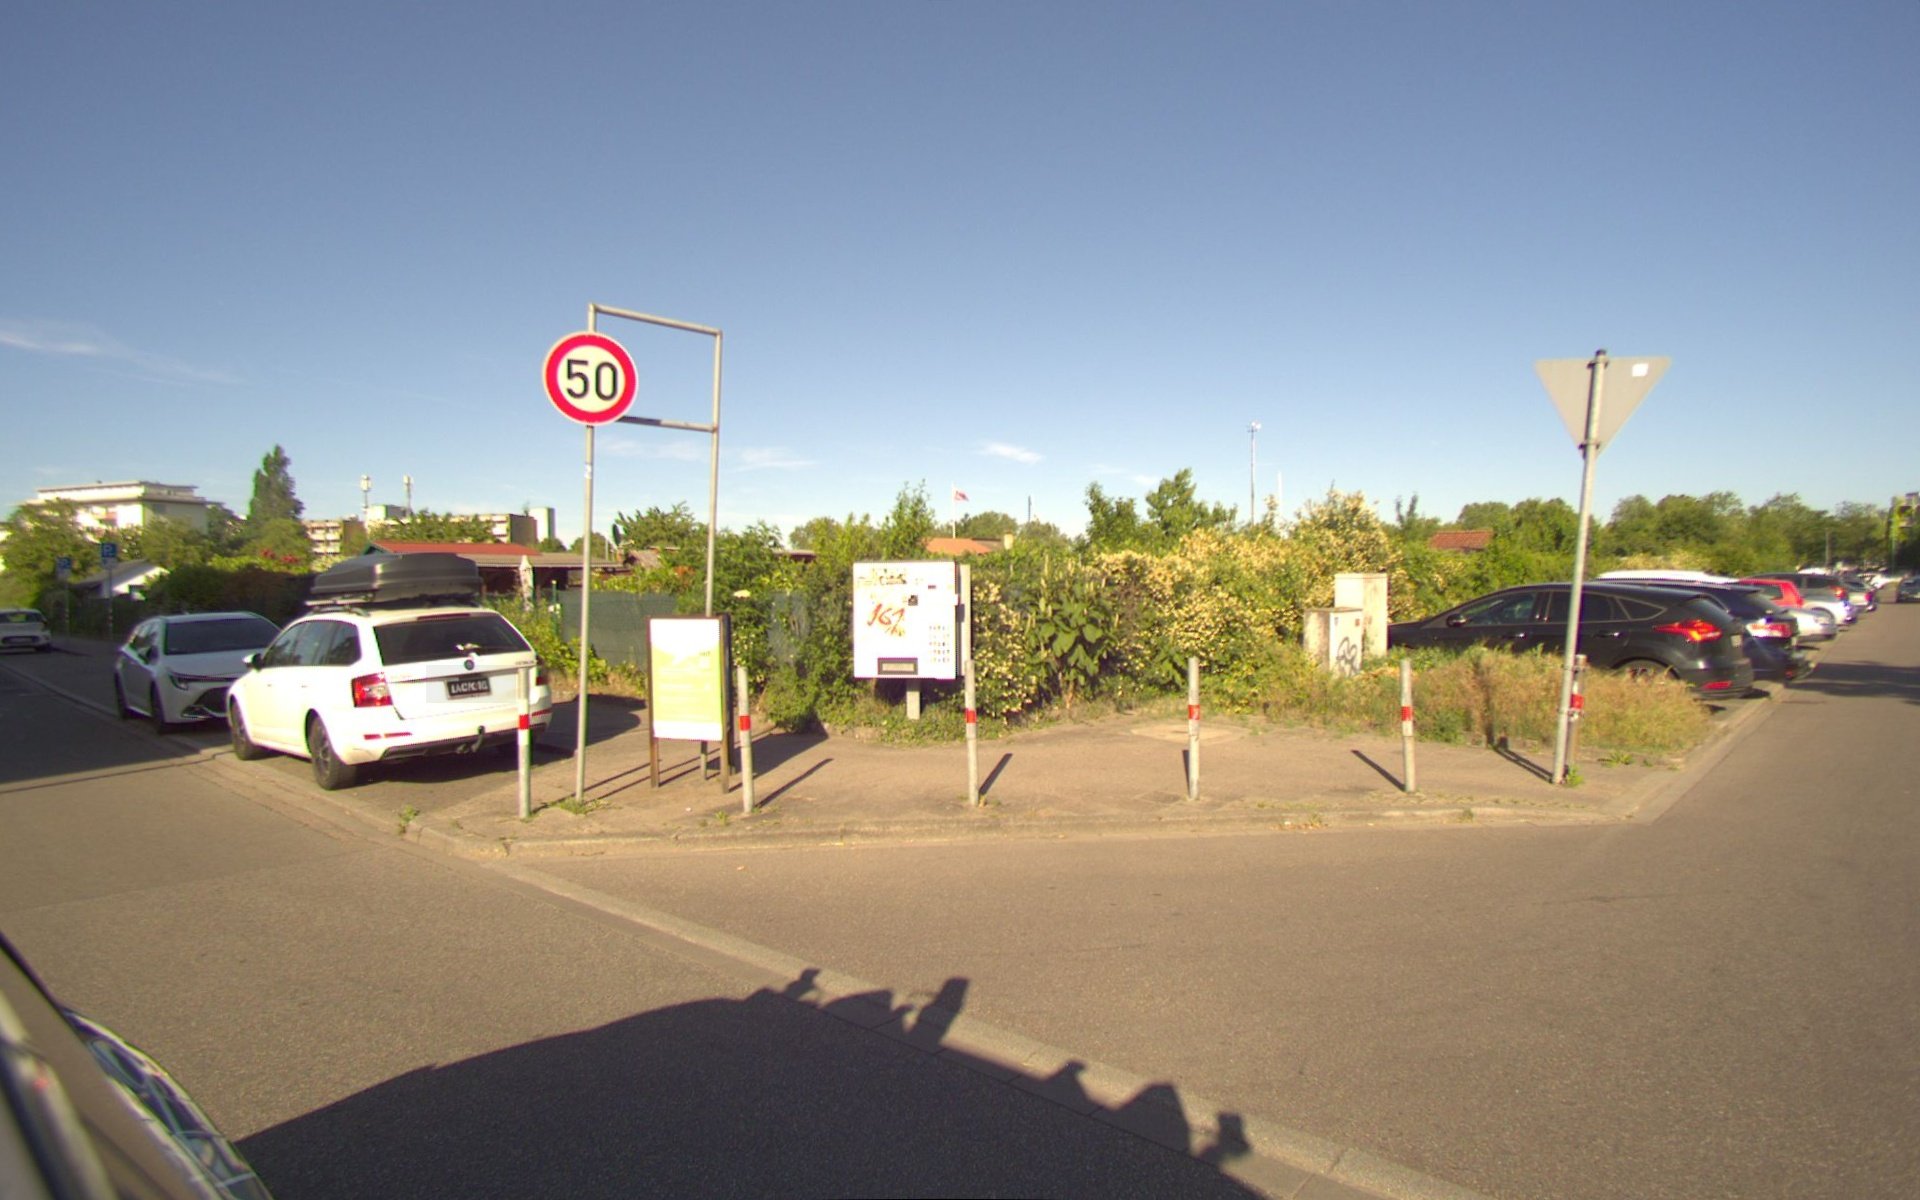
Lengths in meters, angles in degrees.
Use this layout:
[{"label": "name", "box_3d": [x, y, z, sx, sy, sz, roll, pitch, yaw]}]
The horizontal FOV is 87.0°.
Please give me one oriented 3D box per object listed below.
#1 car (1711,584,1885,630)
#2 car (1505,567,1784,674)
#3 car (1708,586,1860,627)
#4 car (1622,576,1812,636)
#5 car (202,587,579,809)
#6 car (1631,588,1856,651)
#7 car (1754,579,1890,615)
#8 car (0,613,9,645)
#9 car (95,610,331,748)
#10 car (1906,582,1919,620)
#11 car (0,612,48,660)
[{"label": "car", "box_3d": [24.484, 0.205, 29.679, 3.844, 1.273, 1.490, -1, 0, 41]}, {"label": "car", "box_3d": [12.067, 0.330, 18.027, 1.487, 1.707, 3.851, -1, 0, -42]}, {"label": "car", "box_3d": [27.201, 0.227, 33.497, 3.844, 1.273, 1.490, -1, -2, 41]}, {"label": "car", "box_3d": [20.260, 0.155, 27.209, 1.487, 1.496, 3.851, -1, 0, -42]}, {"label": "car", "box_3d": [-5.514, 0.751, 9.503, 4.516, 1.524, 1.678, -2, 3, 42]}, {"label": "car", "box_3d": [17.293, 0.431, 22.454, 3.844, 1.273, 1.490, -1, -2, 41]}, {"label": "car", "box_3d": [32.558, -0.096, 38.323, 3.844, 1.273, 1.490, -1, -2, 41]}, {"label": "car", "box_3d": [-44.529, 1.346, 45.883, 4.516, 1.434, 1.678, -1, 3, 42]}, {"label": "car", "box_3d": [-10.340, 0.942, 13.870, 4.541, 1.456, 1.728, -1, 3, 43]}, {"label": "car", "box_3d": [53.424, 0.026, 55.663, 2.000, 2.029, 3.944, -1, 0, 43]}, {"label": "car", "box_3d": [-31.827, 1.178, 33.916, 3.401, 1.499, 1.511, -1, 1, 42]}]
